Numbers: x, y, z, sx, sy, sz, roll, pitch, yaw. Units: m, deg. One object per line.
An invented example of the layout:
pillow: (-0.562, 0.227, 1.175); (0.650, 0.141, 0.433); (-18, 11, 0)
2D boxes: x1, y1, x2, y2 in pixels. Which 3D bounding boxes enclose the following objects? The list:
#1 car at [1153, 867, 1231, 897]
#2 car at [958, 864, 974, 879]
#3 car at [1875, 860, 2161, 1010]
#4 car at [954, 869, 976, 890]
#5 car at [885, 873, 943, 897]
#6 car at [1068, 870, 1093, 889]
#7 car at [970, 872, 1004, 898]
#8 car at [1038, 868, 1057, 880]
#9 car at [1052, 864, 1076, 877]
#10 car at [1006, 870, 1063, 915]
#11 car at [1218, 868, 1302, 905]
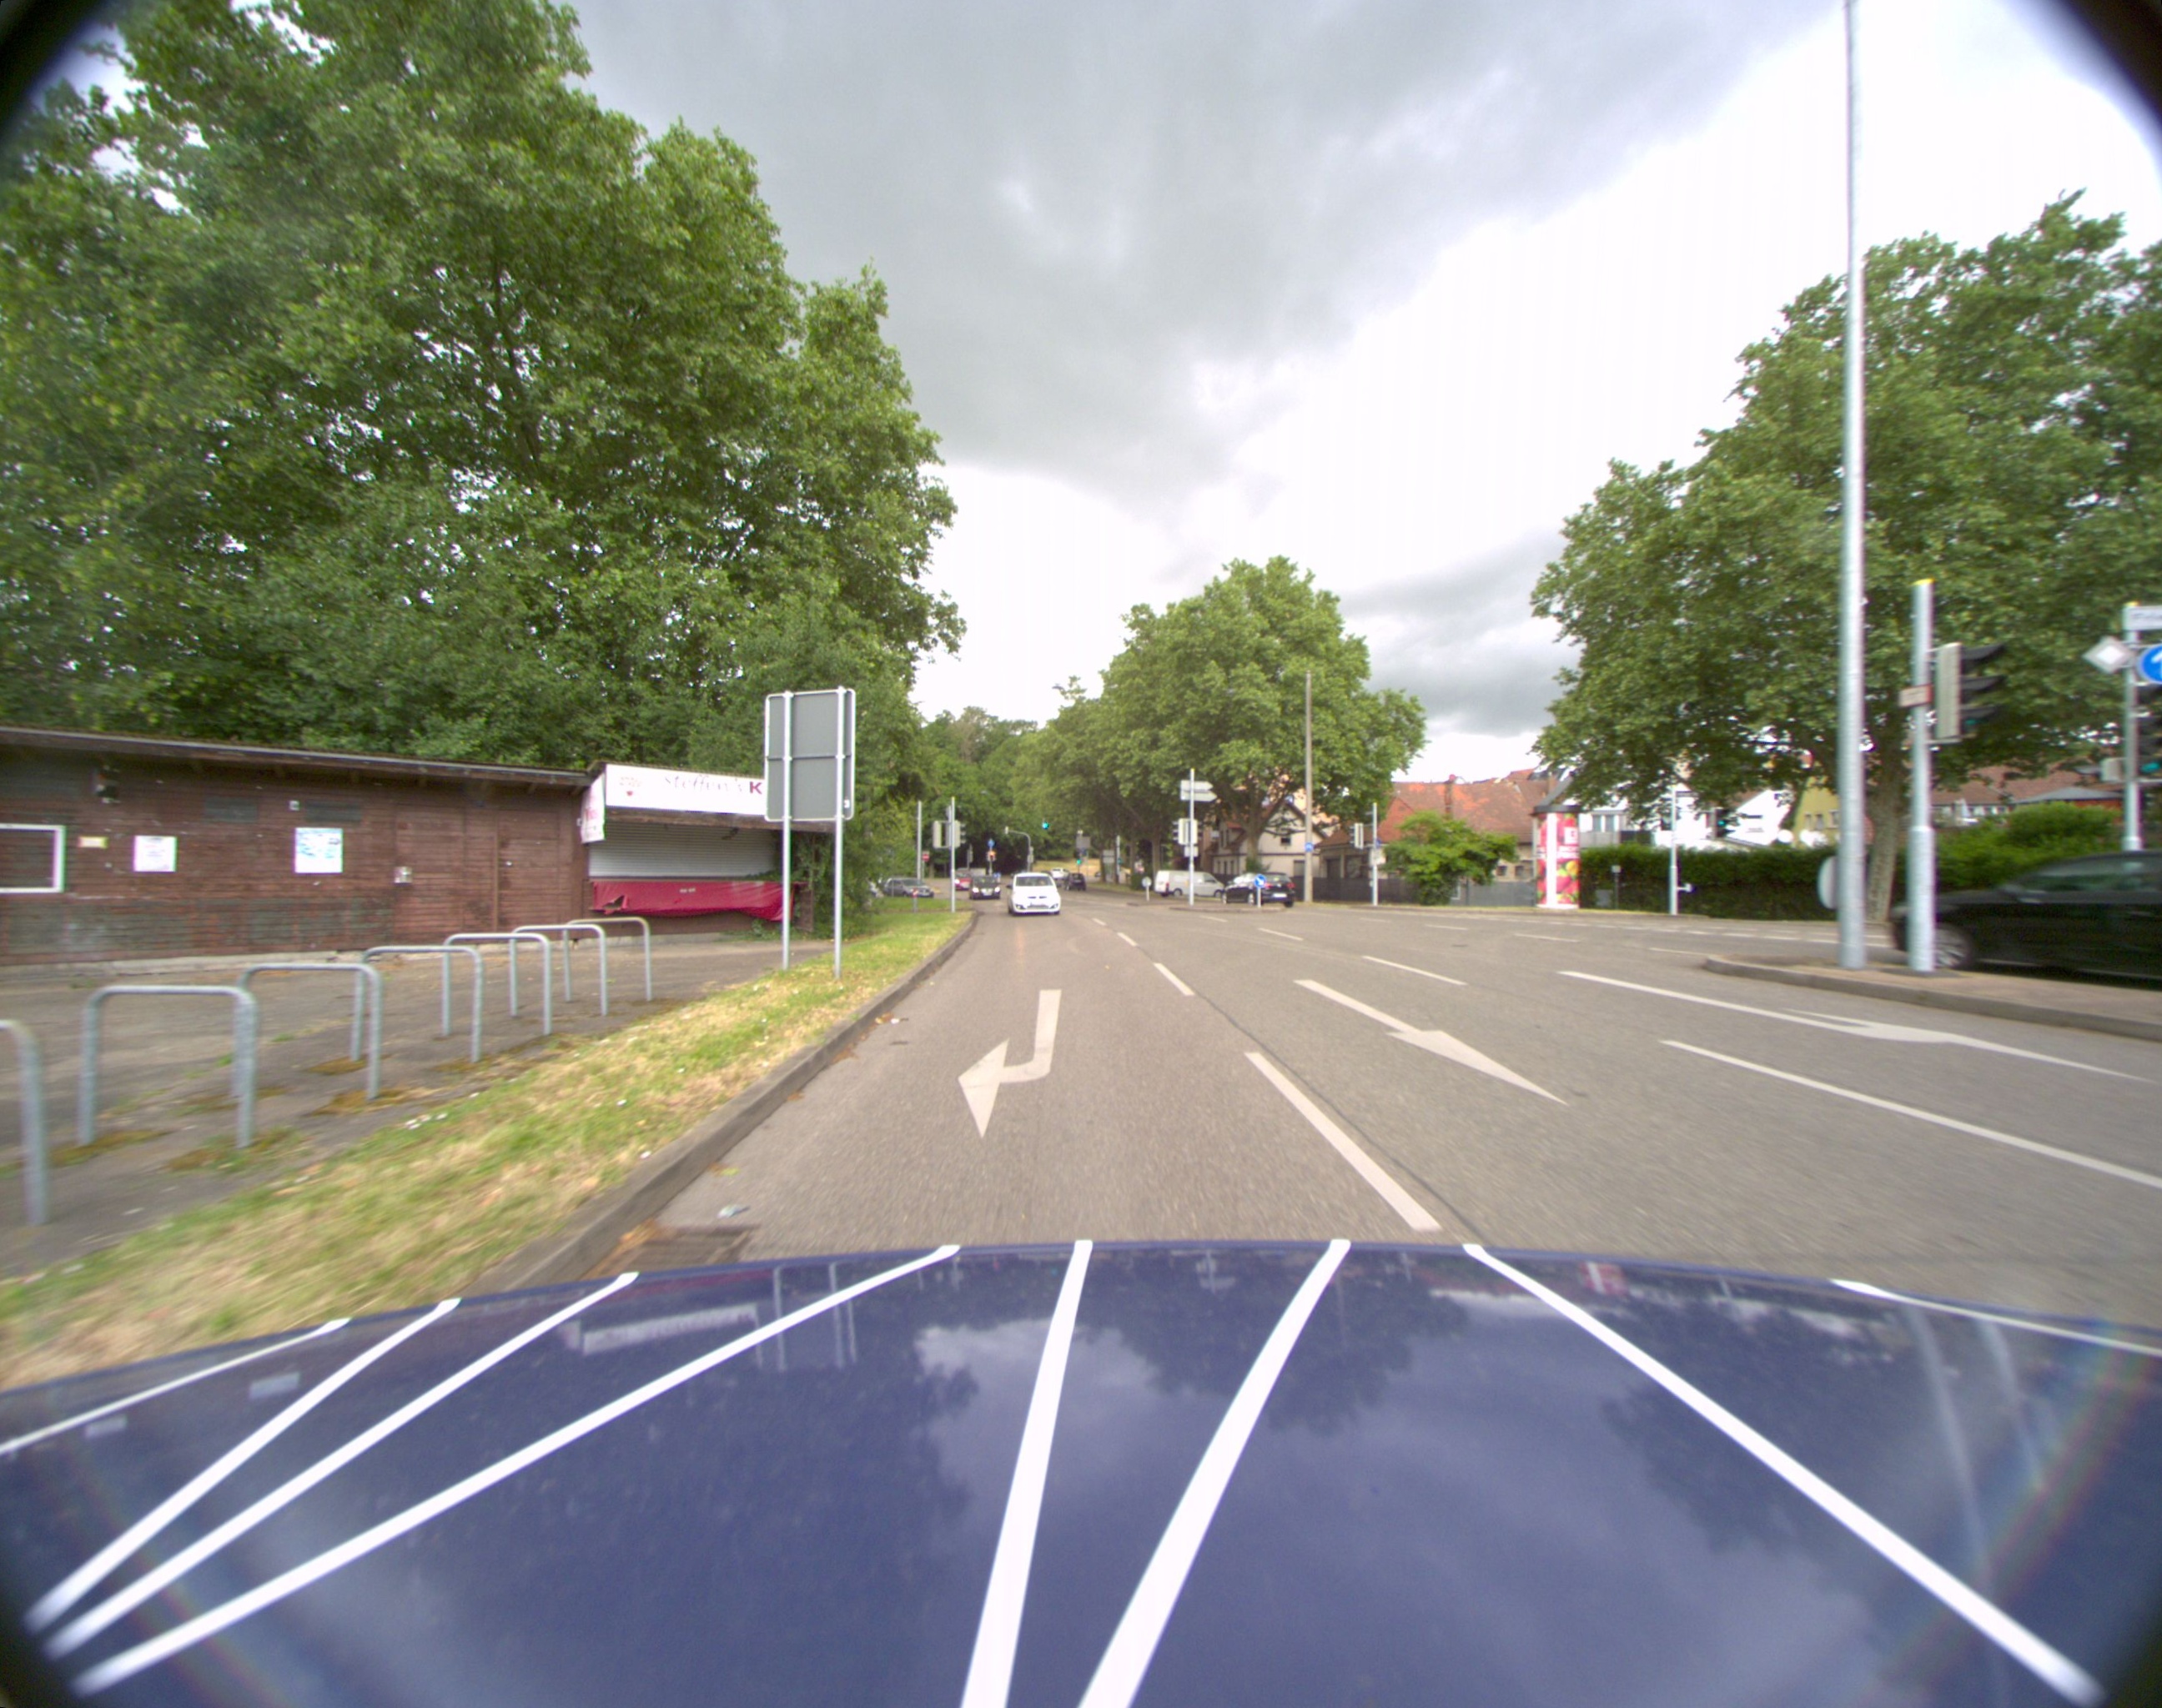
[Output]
car: (8.023, 2.010, 54.858); (5.251, 1.919, 2.080); (3, -1, -25)
car: (-13.401, 2.024, 88.860); (1.784, 1.559, 3.997); (1, 0, -8)
car: (10.860, 0.764, 7.599); (1.621, 1.407, 3.894); (0, -1, -4)
car: (-10.090, 2.181, 66.135); (1.677, 1.632, 4.096); (1, 0, -11)
car: (-10.329, 1.901, 46.754); (1.737, 1.420, 4.102); (1, -2, -41)
car: (-0.087, 2.194, 65.158); (1.574, 1.517, 3.187); (0, -2, -10)
car: (-6.156, 1.994, 49.521); (1.732, 1.512, 3.995); (1, 0, -14)
car: (-4.154, 2.424, 93.830); (1.575, 1.374, 3.944); (2, -1, -15)
car: (-2.346, 2.271, 106.517); (1.913, 1.752, 4.760); (0, -1, 18)
car: (-1.732, 1.344, 27.208); (1.629, 1.499, 3.998); (0, -2, -9)
car: (7.217, 1.286, 31.101); (1.683, 1.358, 4.307); (-1, -1, -11)
